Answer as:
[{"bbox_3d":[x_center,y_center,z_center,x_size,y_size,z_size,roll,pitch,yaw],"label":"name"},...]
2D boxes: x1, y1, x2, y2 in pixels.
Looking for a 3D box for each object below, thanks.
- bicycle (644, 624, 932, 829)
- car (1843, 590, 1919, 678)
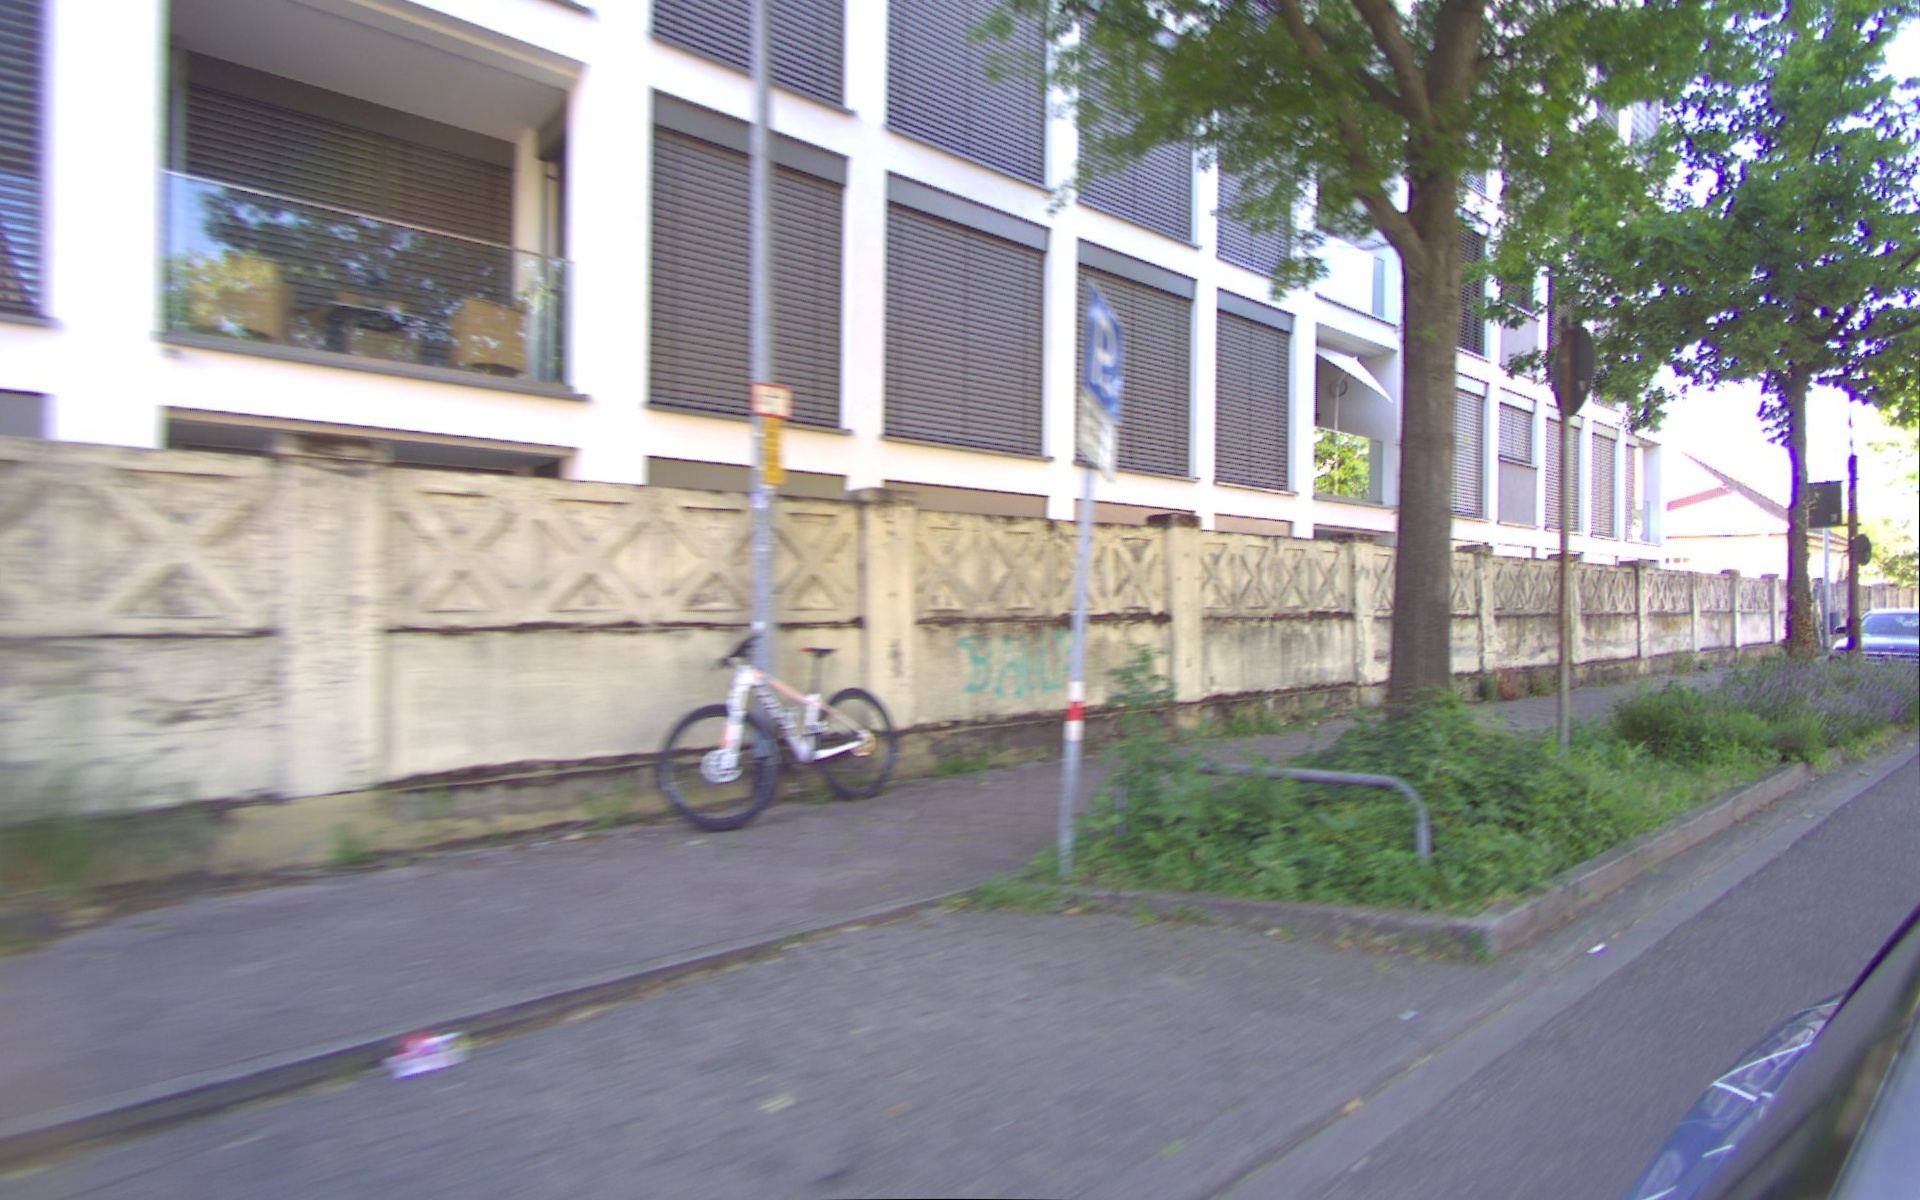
[{"bbox_3d":[-0.972,0.692,6.103,1.799,1.054,0.337,0,0,-41],"label":"bicycle"},{"bbox_3d":[17.461,0.586,18.150,4.677,1.428,1.724,1,0,-40],"label":"car"}]
